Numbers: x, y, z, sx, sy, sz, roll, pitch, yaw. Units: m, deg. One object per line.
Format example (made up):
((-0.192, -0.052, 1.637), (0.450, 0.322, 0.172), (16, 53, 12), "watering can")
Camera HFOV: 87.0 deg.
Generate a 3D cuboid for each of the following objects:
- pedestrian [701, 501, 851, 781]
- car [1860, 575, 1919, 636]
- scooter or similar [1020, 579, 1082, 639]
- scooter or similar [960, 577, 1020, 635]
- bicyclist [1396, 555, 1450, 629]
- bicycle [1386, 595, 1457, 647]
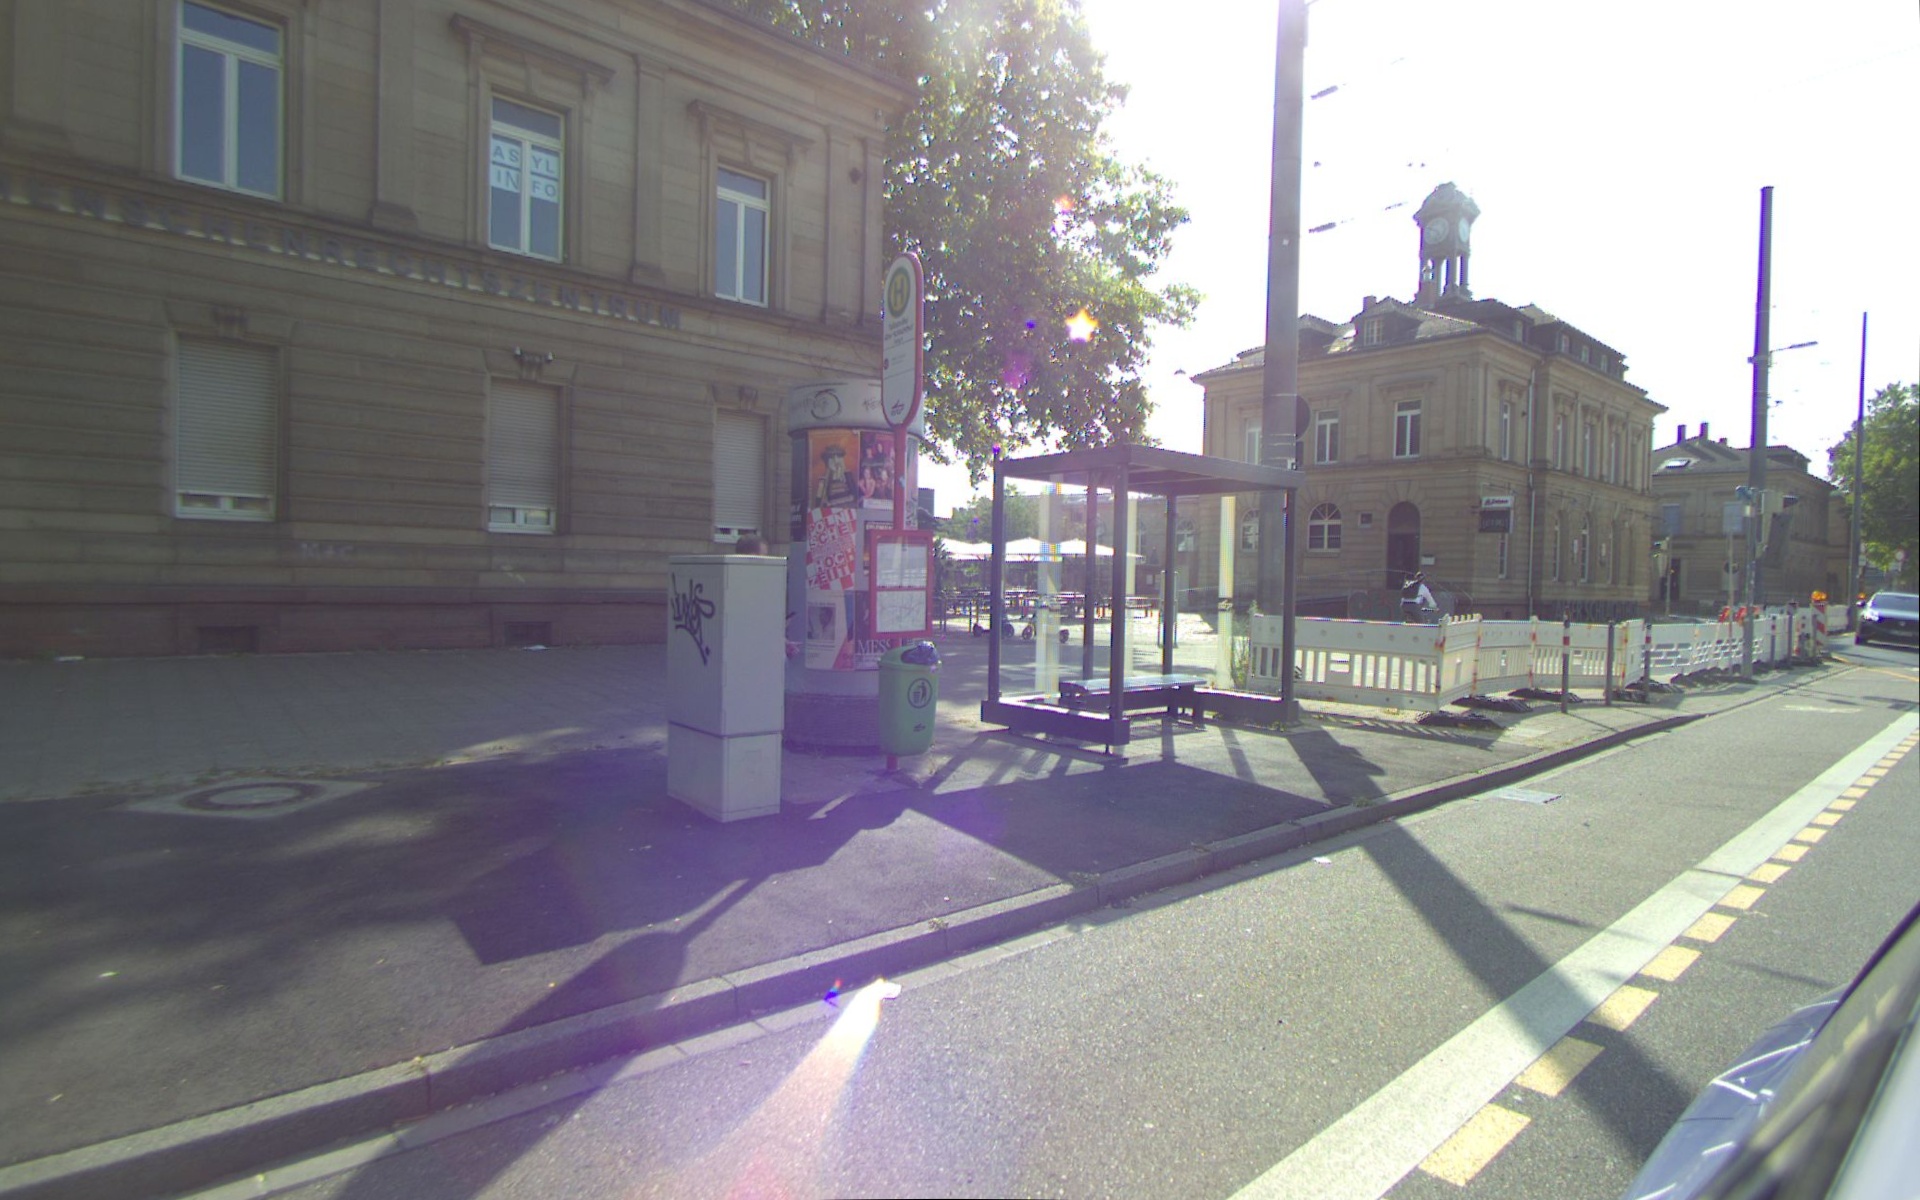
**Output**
((-1.200, 0.234, 6.658), (0.684, 1.718, 0.642), (2, 1, 29), "pedestrian")
((29.301, 0.180, 31.163), (5.139, 1.716, 1.995), (1, 2, -45), "car")
((2.002, 0.195, 22.242), (1.228, 1.225, 0.423), (3, 0, -18), "scooter or similar")
((0.688, 0.127, 23.085), (1.242, 1.225, 0.419), (4, 0, 25), "scooter or similar")
((10.076, -0.186, 22.036), (0.939, 1.562, 0.718), (1, 1, -43), "bicyclist")
((10.091, 0.446, 22.084), (1.871, 1.055, 0.718), (1, 1, -43), "bicycle")
